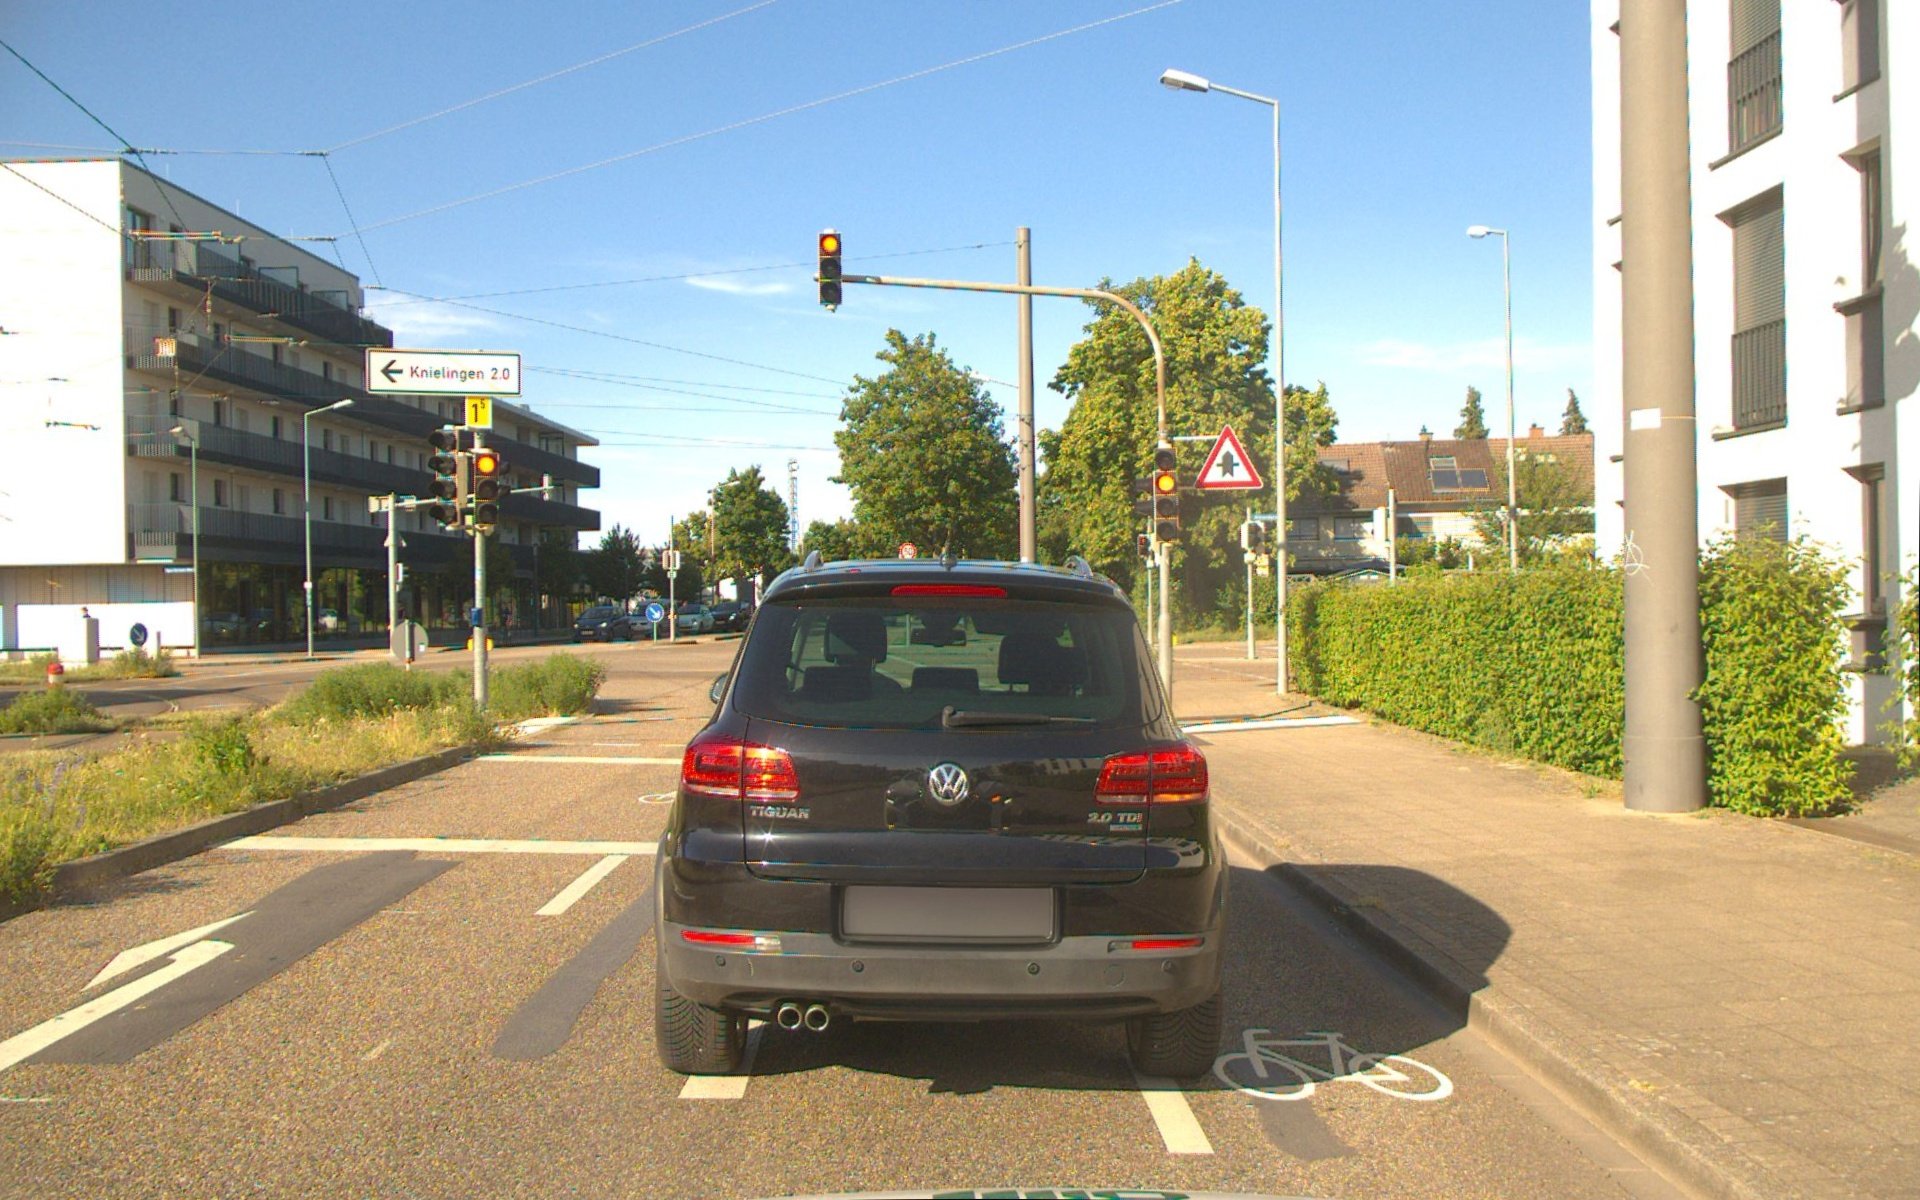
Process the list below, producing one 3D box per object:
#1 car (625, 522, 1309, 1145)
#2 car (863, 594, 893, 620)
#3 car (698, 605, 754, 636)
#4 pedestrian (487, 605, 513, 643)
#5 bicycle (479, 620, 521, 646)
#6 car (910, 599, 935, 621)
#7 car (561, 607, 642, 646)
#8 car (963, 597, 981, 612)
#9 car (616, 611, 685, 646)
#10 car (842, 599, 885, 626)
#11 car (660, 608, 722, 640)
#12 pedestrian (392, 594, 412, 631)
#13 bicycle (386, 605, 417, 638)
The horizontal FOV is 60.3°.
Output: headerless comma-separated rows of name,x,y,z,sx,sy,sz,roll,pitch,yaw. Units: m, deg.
car,-0.004,0.645,6.492,1.831,1.666,3.999,1,0,-1
car,-5.647,0.479,114.642,1.825,1.750,3.687,0,0,1
car,-12.807,1.104,90.838,1.951,1.601,4.342,1,0,7
pedestrian,-18.707,0.971,67.285,0.696,1.499,0.954,1,0,6
bicycle,-18.691,1.324,67.261,0.755,1.006,2.434,1,0,6
car,-3.353,0.913,149.716,1.952,1.869,4.001,1,0,2
car,-15.399,1.133,71.183,1.951,1.601,4.343,1,0,9
car,1.474,0.552,203.310,1.953,1.713,3.998,1,0,-2
car,-14.571,1.314,78.014,1.951,1.601,4.342,1,0,7
car,-5.571,0.694,95.951,1.824,1.511,4.113,-1,0,7
car,-13.749,1.207,84.790,1.951,1.601,4.342,1,0,7
pedestrian,-23.660,0.536,70.115,0.629,1.535,0.596,1,-1,0
bicycle,-23.658,0.899,70.072,0.617,1.355,1.912,1,0,0
